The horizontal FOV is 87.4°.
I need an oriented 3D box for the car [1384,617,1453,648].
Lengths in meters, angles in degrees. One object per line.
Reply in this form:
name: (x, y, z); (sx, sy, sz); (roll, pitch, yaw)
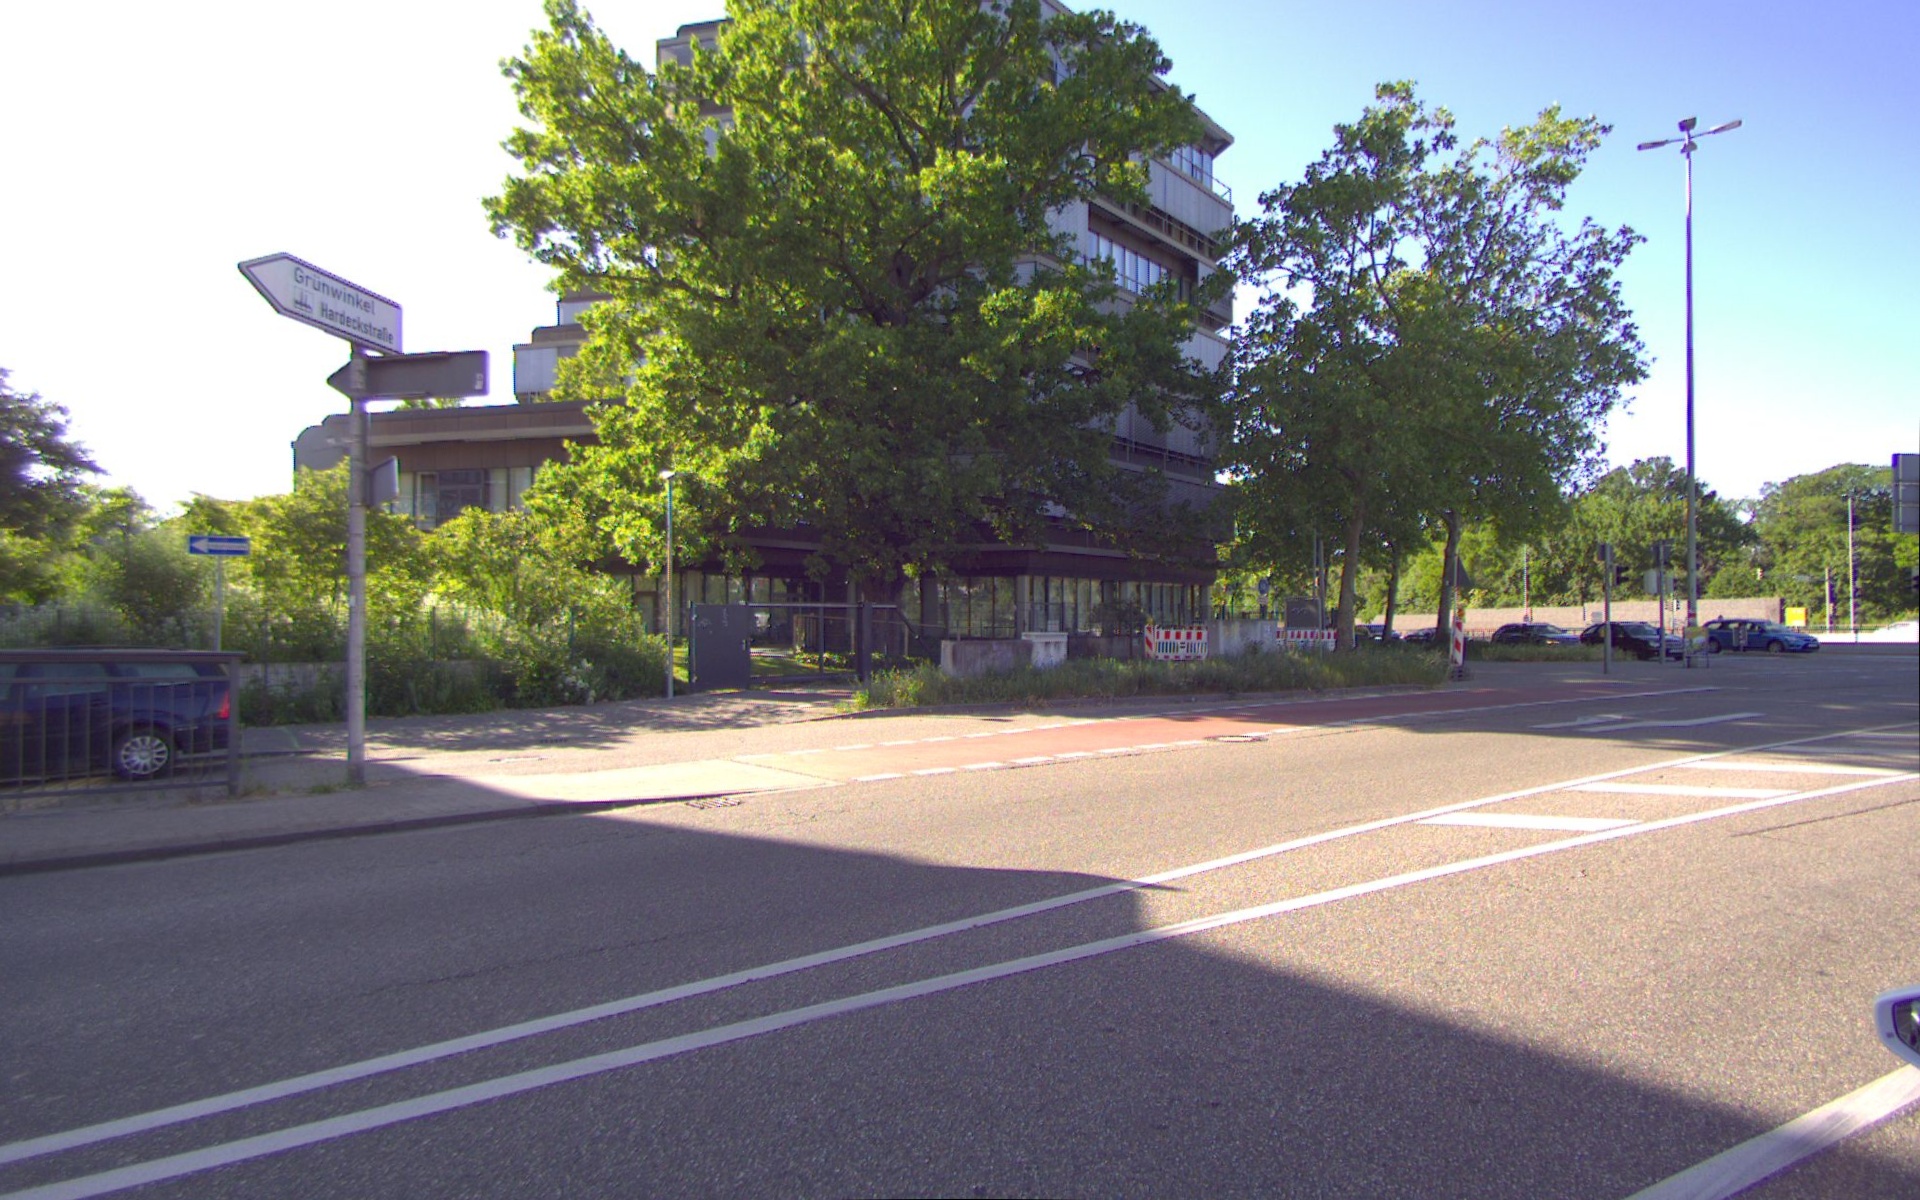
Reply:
car: (26.247, 1.844, 57.684); (1.843, 1.666, 4.509); (0, -1, -1)

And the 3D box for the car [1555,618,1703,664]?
car: (25.806, 1.529, 38.983); (1.918, 1.643, 4.773); (0, -1, -13)

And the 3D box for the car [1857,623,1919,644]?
car: (70.248, 2.480, 75.259); (1.753, 1.400, 4.512); (0, 0, -8)

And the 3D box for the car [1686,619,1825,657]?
car: (34.327, 1.610, 43.506); (1.919, 1.561, 4.443); (0, -1, -16)

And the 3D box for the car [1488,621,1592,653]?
car: (26.089, 1.630, 45.391); (1.844, 1.376, 4.507); (0, -1, -4)

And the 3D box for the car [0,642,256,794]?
car: (-10.637, 1.331, 11.338); (4.339, 1.528, 1.642); (-1, -2, -38)
